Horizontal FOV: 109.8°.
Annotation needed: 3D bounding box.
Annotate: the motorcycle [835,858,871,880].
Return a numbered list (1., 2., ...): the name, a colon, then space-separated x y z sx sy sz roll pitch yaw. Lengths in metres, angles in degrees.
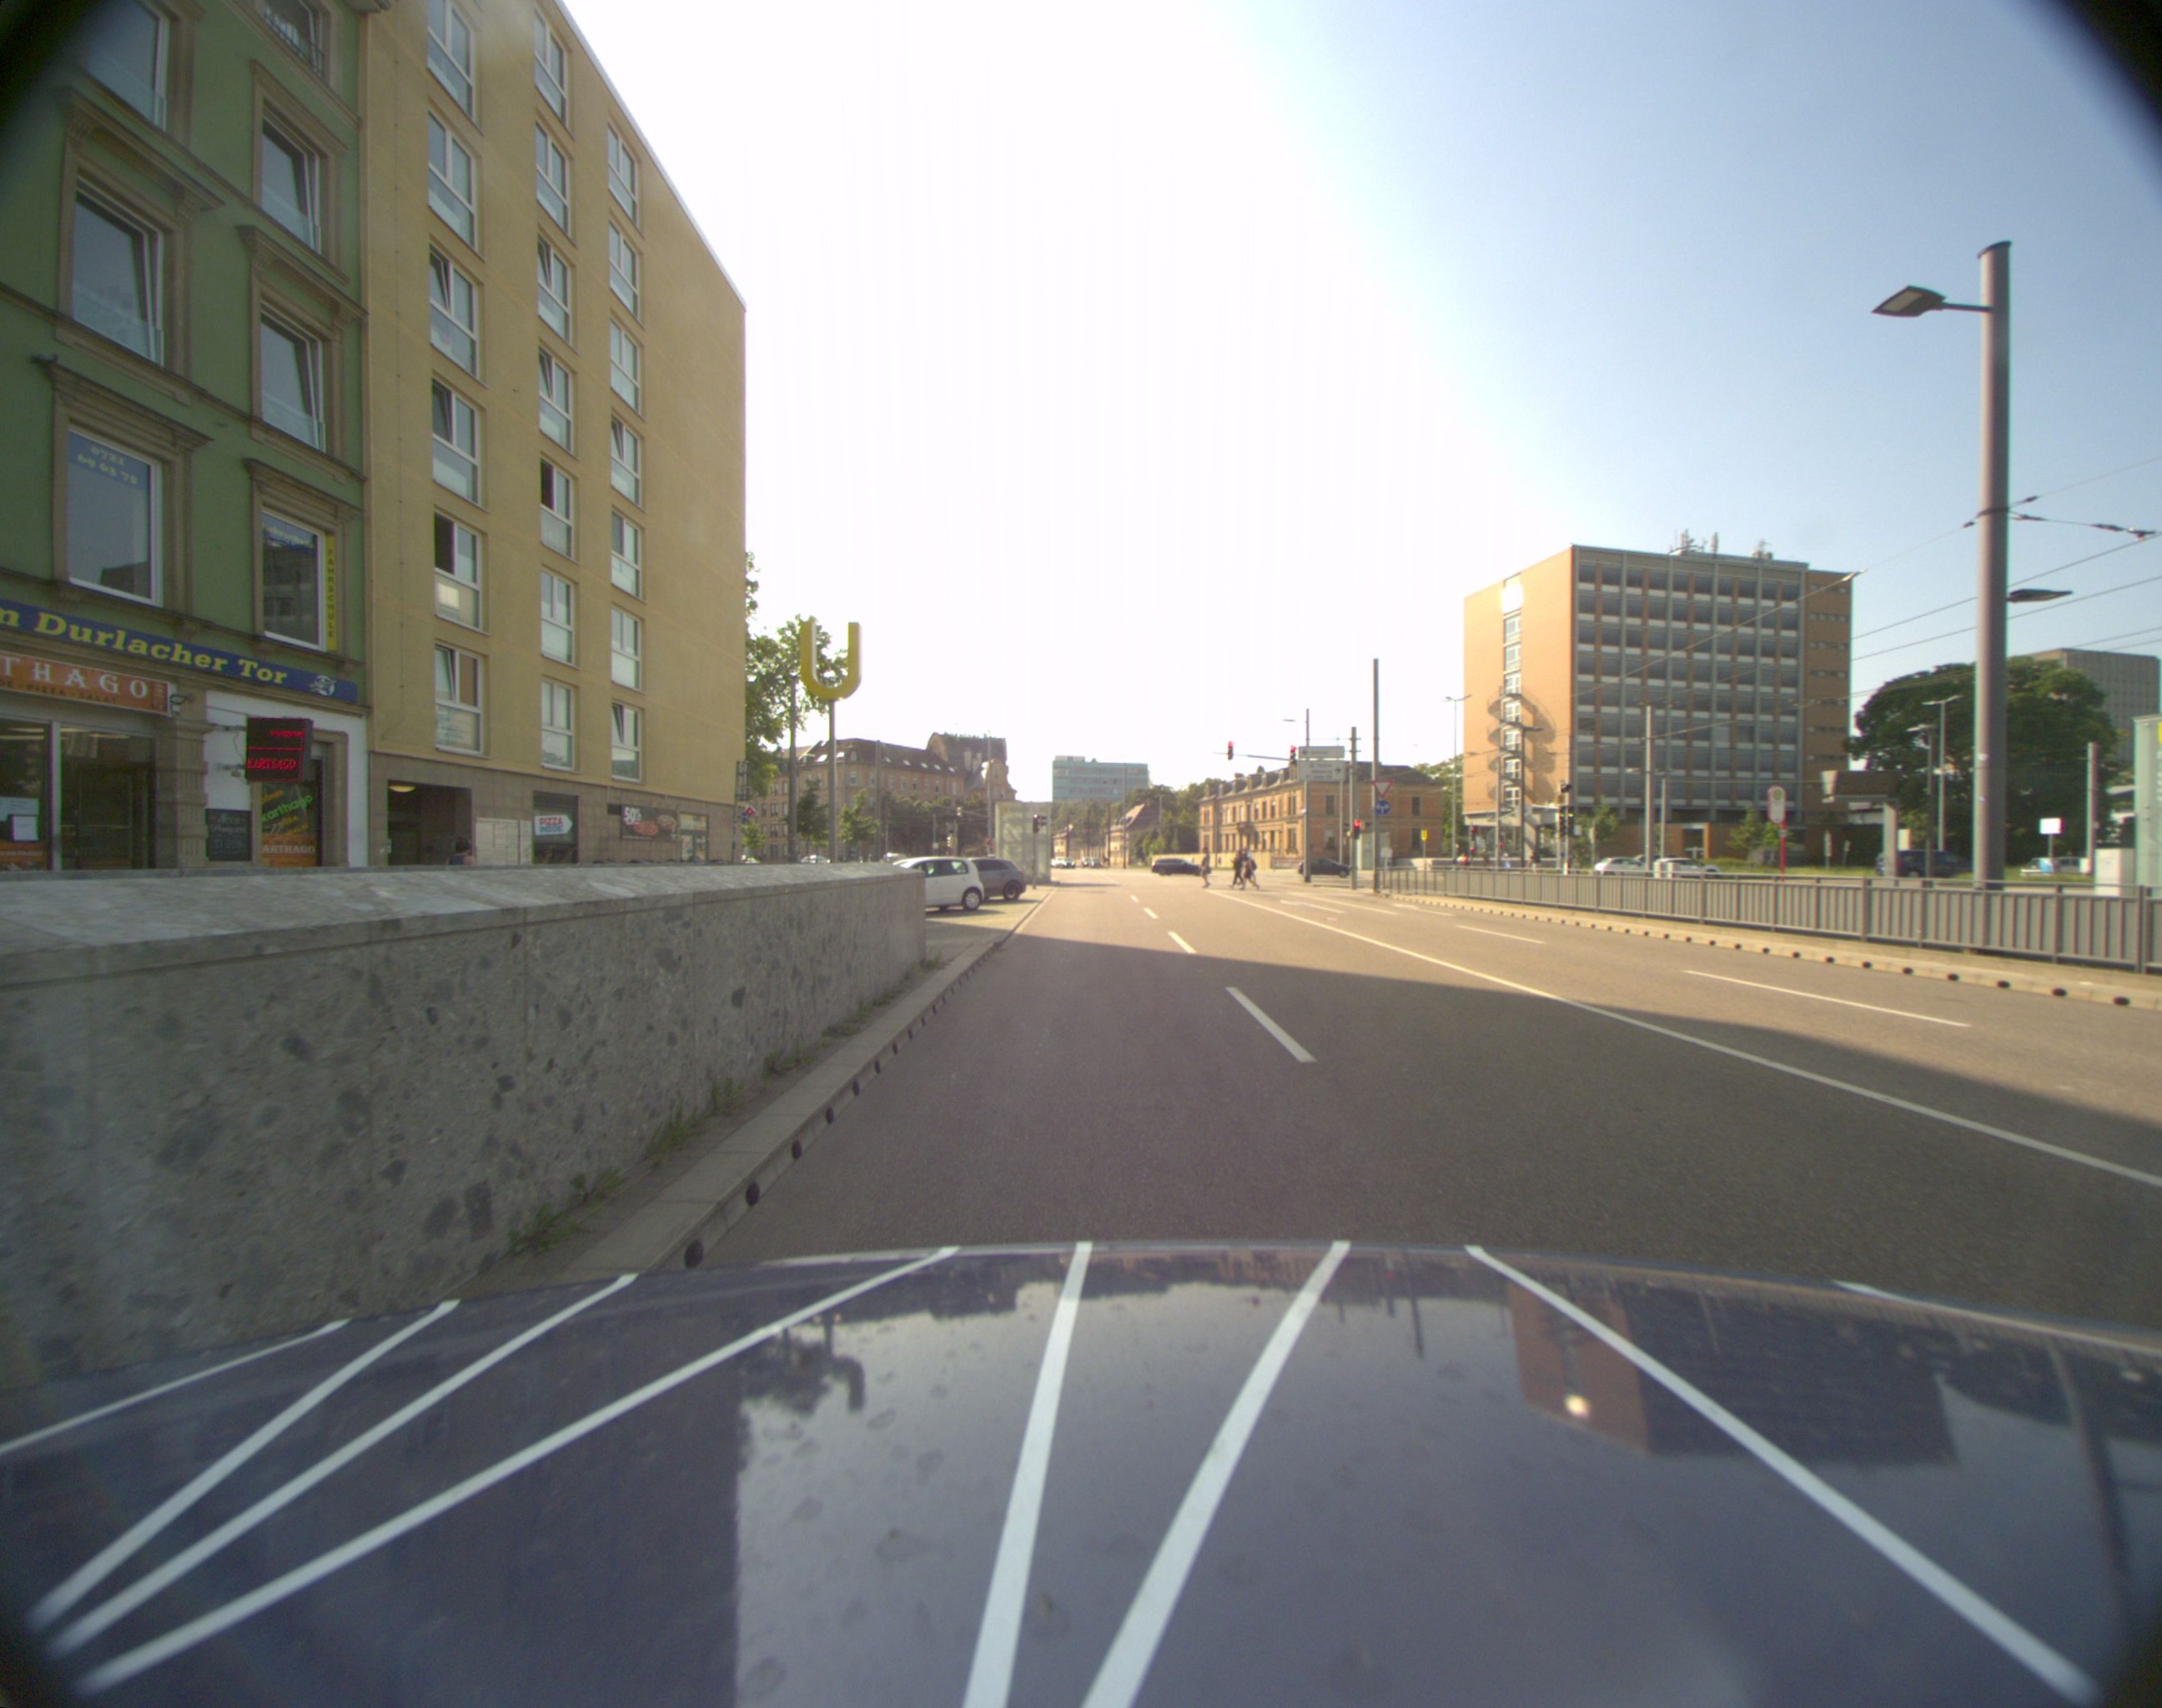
1. motorcycle: -12.245 0.776 40.968 0.704 1.140 2.304 0 0 17

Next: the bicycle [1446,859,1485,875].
1. bicycle: 24.409 0.805 48.251 2.192 0.983 0.530 1 2 25

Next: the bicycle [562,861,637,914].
1. bicycle: -12.185 0.828 19.300 0.604 1.254 1.997 0 0 1

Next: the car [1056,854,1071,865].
1. car: -2.720 0.880 116.728 1.927 1.626 3.997 0 0 -7

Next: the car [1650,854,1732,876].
1. car: 41.689 0.732 52.031 3.990 1.407 1.806 0 0 22

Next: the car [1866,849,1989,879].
1. car: 51.981 0.587 46.788 4.761 1.817 1.806 0 0 24

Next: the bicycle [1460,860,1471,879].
1. bicycle: 23.315 0.948 46.065 0.311 1.158 1.501 0 0 16

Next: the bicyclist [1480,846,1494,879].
1. bicyclist: 24.563 0.519 45.957 0.580 1.963 0.808 0 0 15

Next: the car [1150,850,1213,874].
1. car: 7.985 0.586 60.205 4.564 1.841 2.003 0 0 23

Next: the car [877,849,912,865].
1. car: -24.061 0.403 97.973 4.278 1.875 1.799 0 -2 29

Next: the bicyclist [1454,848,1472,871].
1. bicyclist: 24.249 0.330 48.240 0.969 1.467 1.089 1 1 26

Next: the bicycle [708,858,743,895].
1. bicycle: -12.622 0.791 27.025 0.470 1.254 1.636 0 0 0

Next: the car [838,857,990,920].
1. car: -4.353 0.830 20.051 3.535 1.455 1.618 -1 1 -41

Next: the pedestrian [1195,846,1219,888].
1. pedestrian: 5.168 0.543 31.248 0.816 1.683 0.651 2 1 1

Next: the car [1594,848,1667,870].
1. car: 43.081 0.383 59.684 4.281 1.696 1.955 0 -2 17

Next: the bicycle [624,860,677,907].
1. bicycle: -12.265 0.803 21.704 0.604 1.254 1.996 0 0 -7

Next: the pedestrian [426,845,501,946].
1. pedestrian: -10.168 0.664 12.529 0.610 1.620 0.737 0 1 1

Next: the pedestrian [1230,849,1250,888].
1. pedestrian: 6.647 0.613 31.772 0.634 1.588 0.468 2 1 -1

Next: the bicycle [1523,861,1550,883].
1. bicycle: 23.245 0.915 38.798 0.402 1.103 1.747 0 0 3

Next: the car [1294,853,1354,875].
1. car: 17.956 0.694 56.069 3.990 1.586 2.003 0 0 24

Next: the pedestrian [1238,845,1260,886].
1. pedestrian: 7.655 0.517 34.650 0.834 1.778 0.729 3 1 8

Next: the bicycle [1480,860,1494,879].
1. bicycle: 24.661 0.928 46.133 0.376 1.158 1.861 0 0 16

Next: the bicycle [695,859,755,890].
1. bicycle: -13.941 0.793 29.789 2.021 1.199 0.671 0 0 1

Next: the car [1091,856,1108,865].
1. car: 2.481 0.874 103.584 1.693 1.319 3.997 0 0 -7

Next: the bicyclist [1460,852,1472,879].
1. bicyclist: 23.320 0.689 46.030 0.511 1.620 0.808 0 0 15

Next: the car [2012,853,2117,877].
1. car: 61.090 0.645 47.265 3.548 1.427 1.806 0 0 20

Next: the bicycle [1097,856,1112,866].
1. bicycle: 2.772 0.787 90.845 1.768 1.187 0.402 0 1 22

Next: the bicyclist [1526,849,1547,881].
1. bicyclist: 23.267 0.550 38.801 0.588 1.647 0.790 0 1 1

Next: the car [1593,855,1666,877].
1. car: 36.278 0.783 50.373 3.607 1.407 1.806 0 0 21

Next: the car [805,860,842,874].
1. car: -27.440 1.328 80.956 3.621 1.433 1.807 0 0 32

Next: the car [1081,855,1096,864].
1. car: 1.057 0.818 110.318 1.693 1.319 3.997 0 0 -7

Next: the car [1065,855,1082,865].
1. car: -1.050 0.875 106.390 1.927 1.368 3.997 0 0 -7

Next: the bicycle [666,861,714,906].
1. bicycle: -11.526 0.829 22.481 0.604 1.254 1.996 0 0 -7

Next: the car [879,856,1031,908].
1. car: -3.914 0.816 24.089 4.418 1.415 1.842 -1 1 -41

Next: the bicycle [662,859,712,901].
1. bicycle: -12.412 0.788 24.002 0.604 1.254 1.849 0 0 0

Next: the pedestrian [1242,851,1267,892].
1. pedestrian: 6.804 0.677 29.837 0.809 1.539 0.548 2 1 2
